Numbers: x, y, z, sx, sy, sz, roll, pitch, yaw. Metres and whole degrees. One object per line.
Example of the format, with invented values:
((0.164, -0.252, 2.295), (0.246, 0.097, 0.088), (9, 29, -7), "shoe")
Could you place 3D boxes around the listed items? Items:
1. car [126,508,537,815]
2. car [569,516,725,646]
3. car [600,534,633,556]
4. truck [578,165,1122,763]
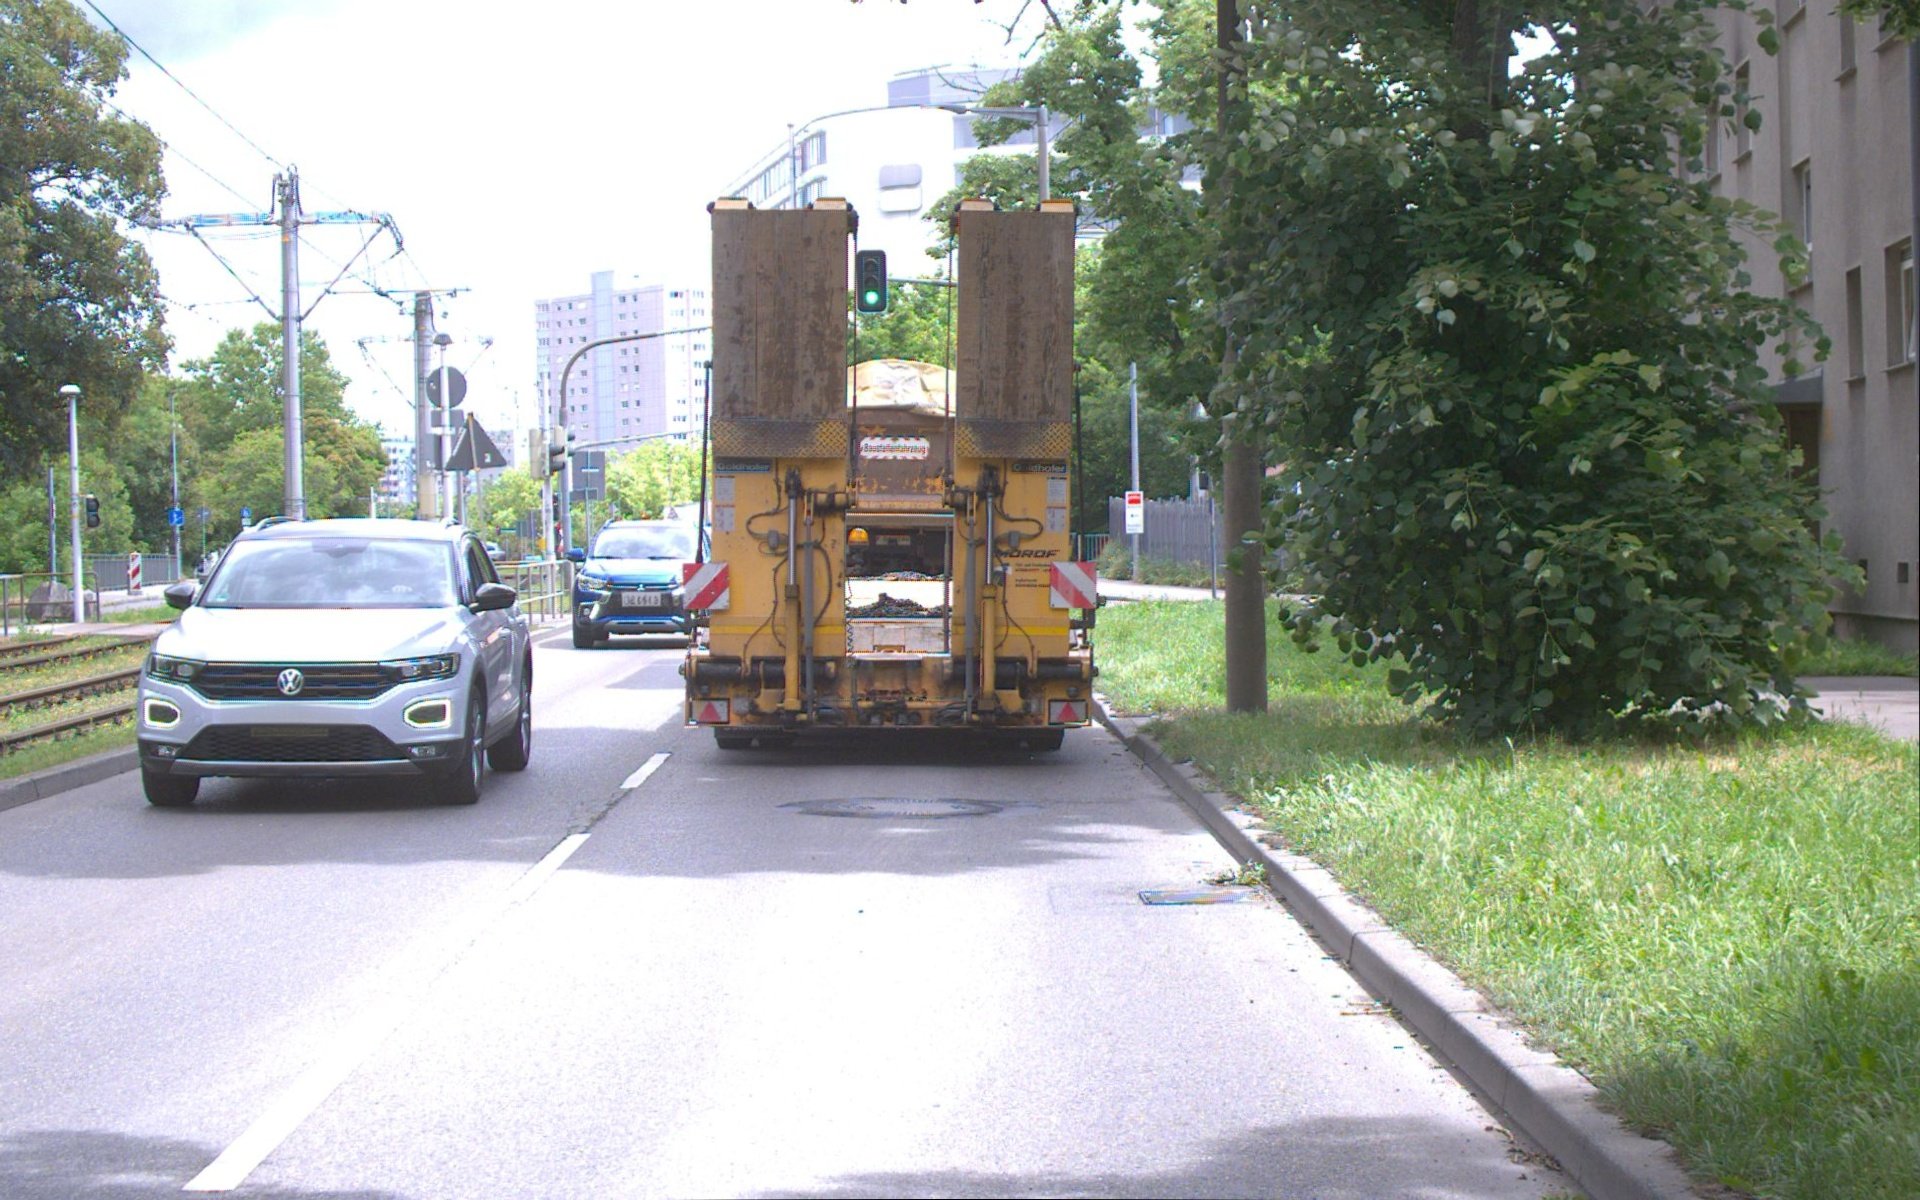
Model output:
((-3.461, 0.263, 19.584), (1.716, 1.539, 4.001), (1, 2, -2), "car")
((-3.941, -0.282, 43.829), (1.713, 1.561, 4.167), (1, 1, -2), "car")
((-22.896, -3.647, 229.074), (1.993, 1.415, 4.001), (1, 0, -8), "car")
((-0.928, -0.868, 27.256), (3.316, 3.638, 12.563), (0, 0, -2), "truck")
